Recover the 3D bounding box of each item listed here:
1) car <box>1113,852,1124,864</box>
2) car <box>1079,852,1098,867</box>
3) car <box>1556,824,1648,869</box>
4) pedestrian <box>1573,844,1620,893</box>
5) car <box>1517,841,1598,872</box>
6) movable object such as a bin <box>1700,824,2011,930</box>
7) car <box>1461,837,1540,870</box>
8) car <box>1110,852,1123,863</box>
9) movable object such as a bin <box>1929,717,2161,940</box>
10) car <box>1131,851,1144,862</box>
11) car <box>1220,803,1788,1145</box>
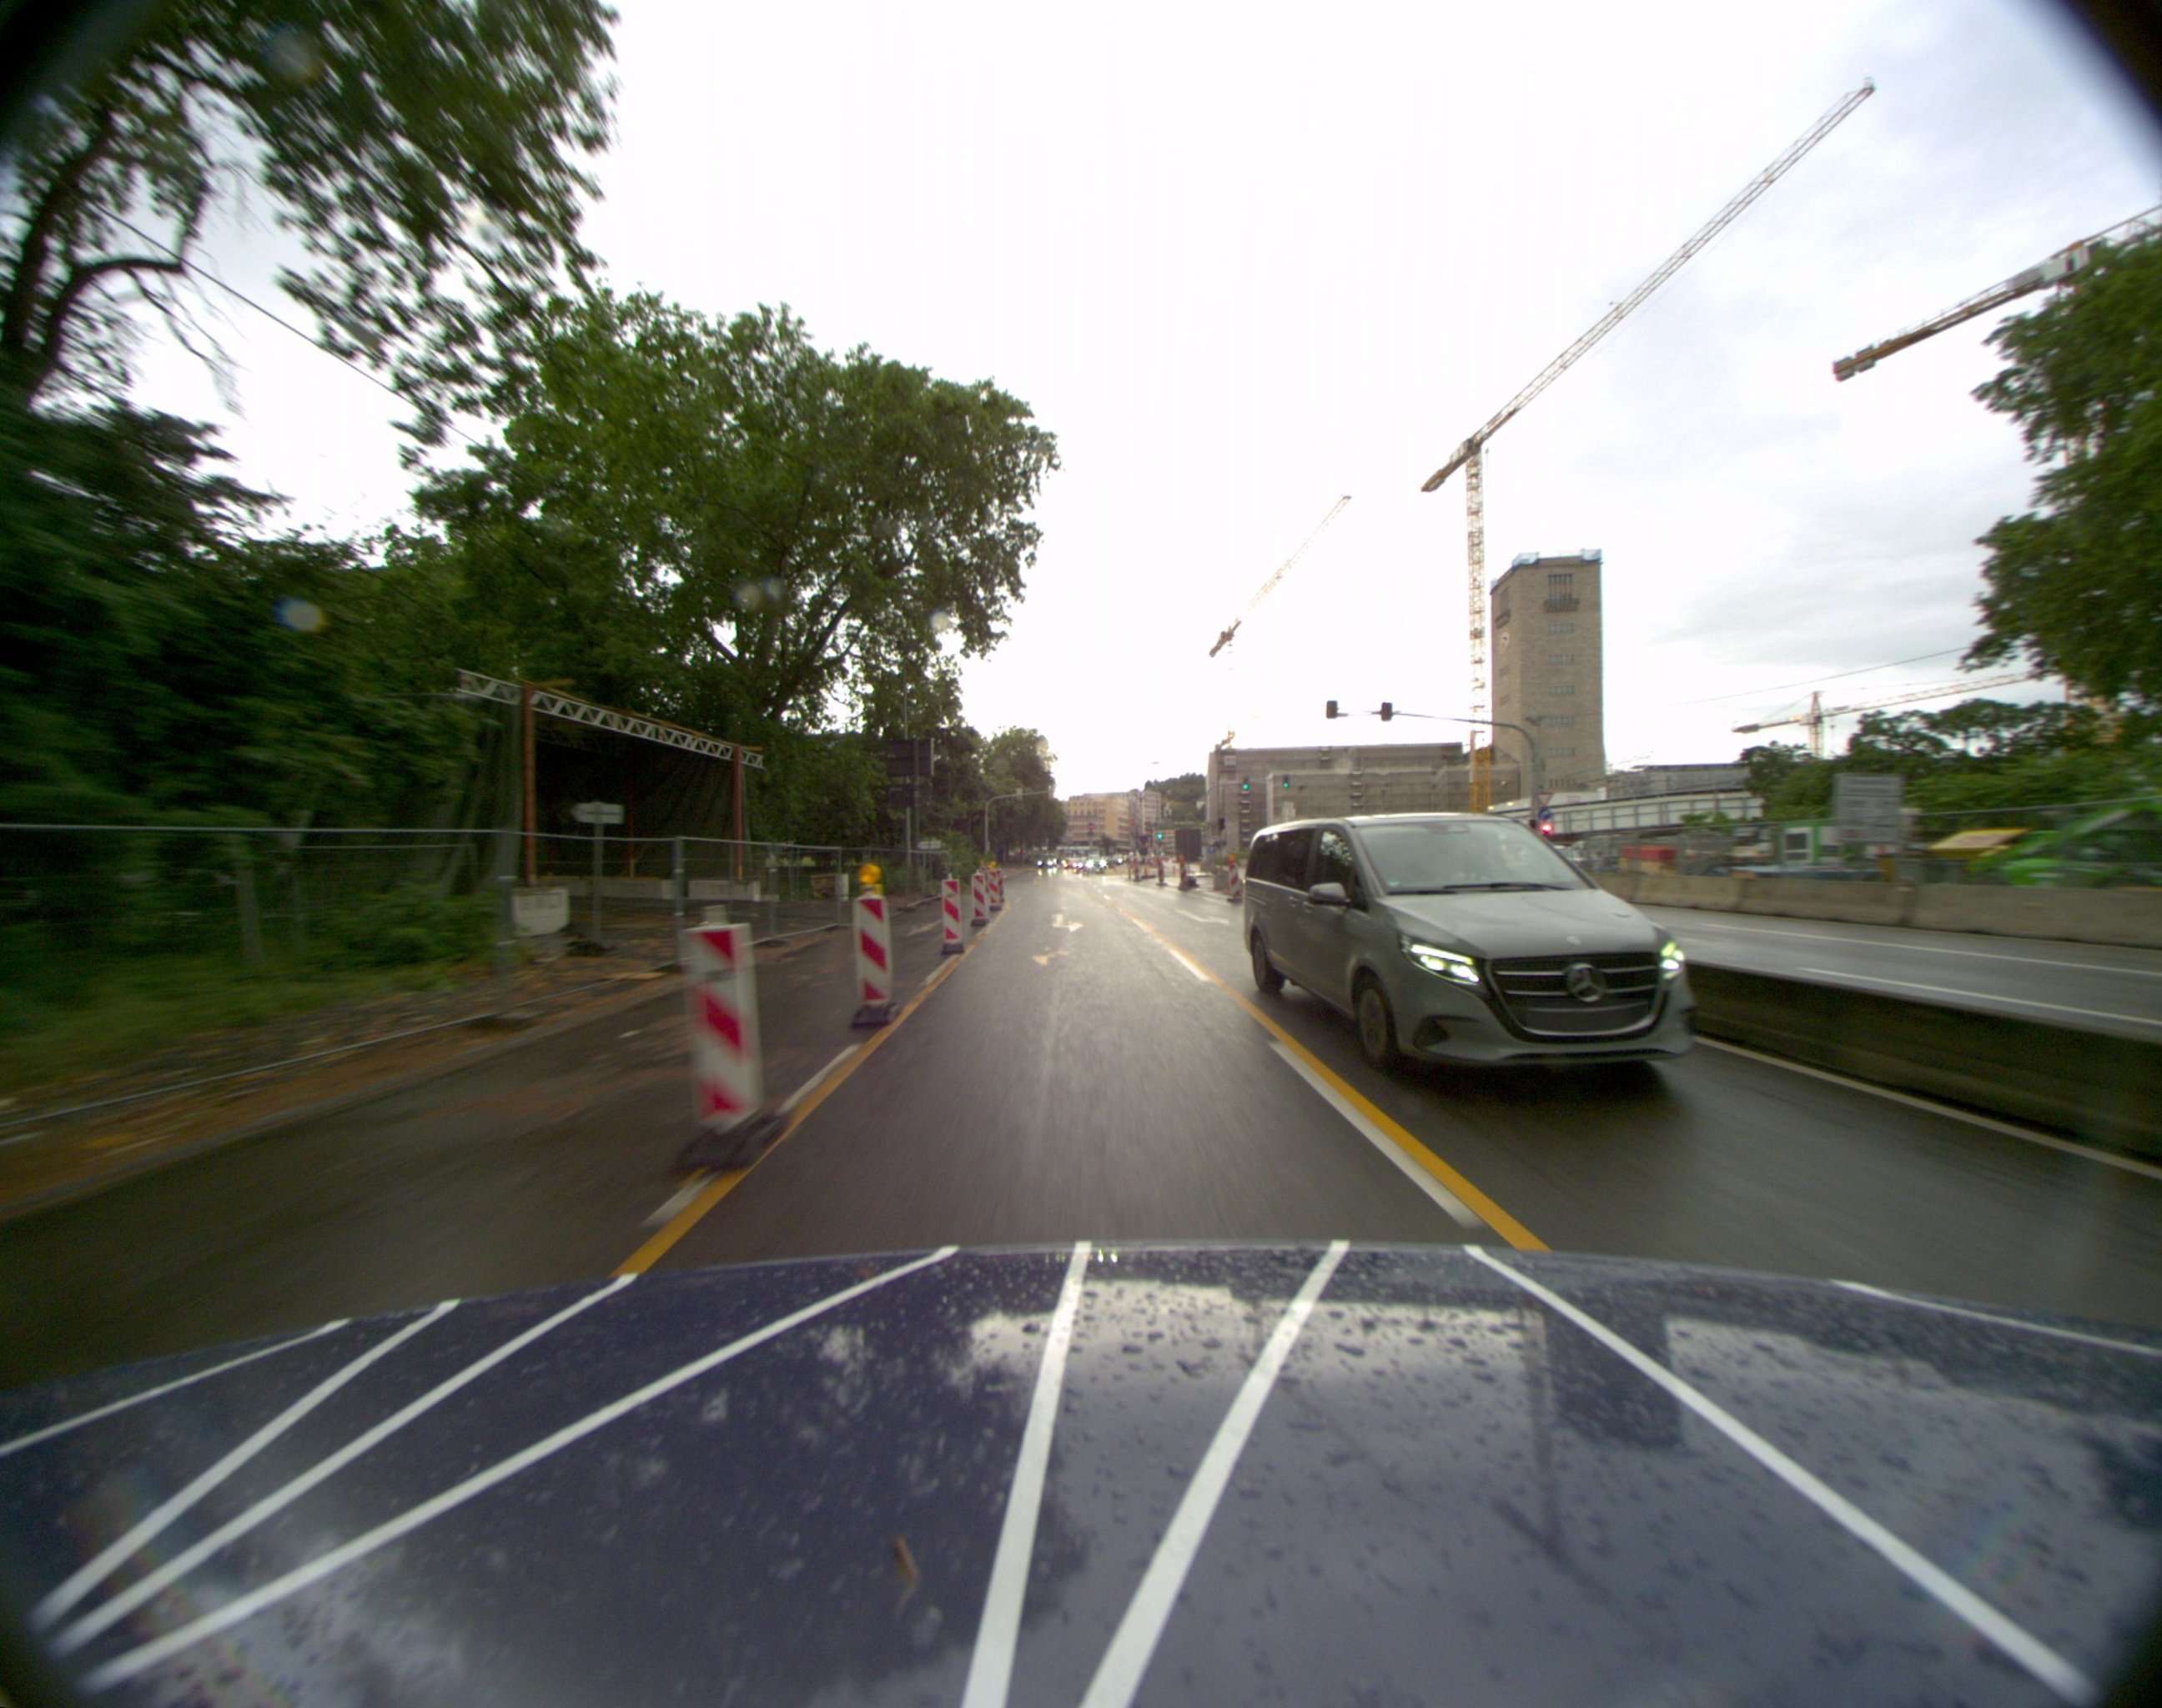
[{"bbox_3d":[6.661,0.779,135.563,1.998,2.101,4.715,0,0,3],"label":"car"},{"bbox_3d":[0.920,0.635,93.842,1.812,1.455,4.920,14,1,3],"label":"car"},{"bbox_3d":[37.192,-0.527,54.486,2.279,3.048,6.168,0,0,-1],"label":"car"},{"bbox_3d":[21.890,0.615,32.288,1.175,2.002,1.181,-2,1,-22],"label":"pedestrian"},{"bbox_3d":[28.595,0.144,45.805,1.850,1.751,4.797,0,0,0],"label":"car"},{"bbox_3d":[25.398,0.672,25.576,3.942,3.110,6.387,0,0,0],"label":"movable object such as a bin"},{"bbox_3d":[28.390,-0.060,51.733,1.999,2.088,5.580,2,0,-3],"label":"car"},{"bbox_3d":[5.586,0.538,120.739,1.998,1.803,4.293,0,0,1],"label":"car"},{"bbox_3d":[25.537,-0.552,16.537,4.762,4.775,8.359,0,0,0],"label":"movable object such as a bin"},{"bbox_3d":[8.875,0.353,120.096,1.832,1.643,4.574,0,0,1],"label":"car"},{"bbox_3d":[2.877,0.692,6.939,1.999,1.845,5.357,-2,0,-2],"label":"car"}]
